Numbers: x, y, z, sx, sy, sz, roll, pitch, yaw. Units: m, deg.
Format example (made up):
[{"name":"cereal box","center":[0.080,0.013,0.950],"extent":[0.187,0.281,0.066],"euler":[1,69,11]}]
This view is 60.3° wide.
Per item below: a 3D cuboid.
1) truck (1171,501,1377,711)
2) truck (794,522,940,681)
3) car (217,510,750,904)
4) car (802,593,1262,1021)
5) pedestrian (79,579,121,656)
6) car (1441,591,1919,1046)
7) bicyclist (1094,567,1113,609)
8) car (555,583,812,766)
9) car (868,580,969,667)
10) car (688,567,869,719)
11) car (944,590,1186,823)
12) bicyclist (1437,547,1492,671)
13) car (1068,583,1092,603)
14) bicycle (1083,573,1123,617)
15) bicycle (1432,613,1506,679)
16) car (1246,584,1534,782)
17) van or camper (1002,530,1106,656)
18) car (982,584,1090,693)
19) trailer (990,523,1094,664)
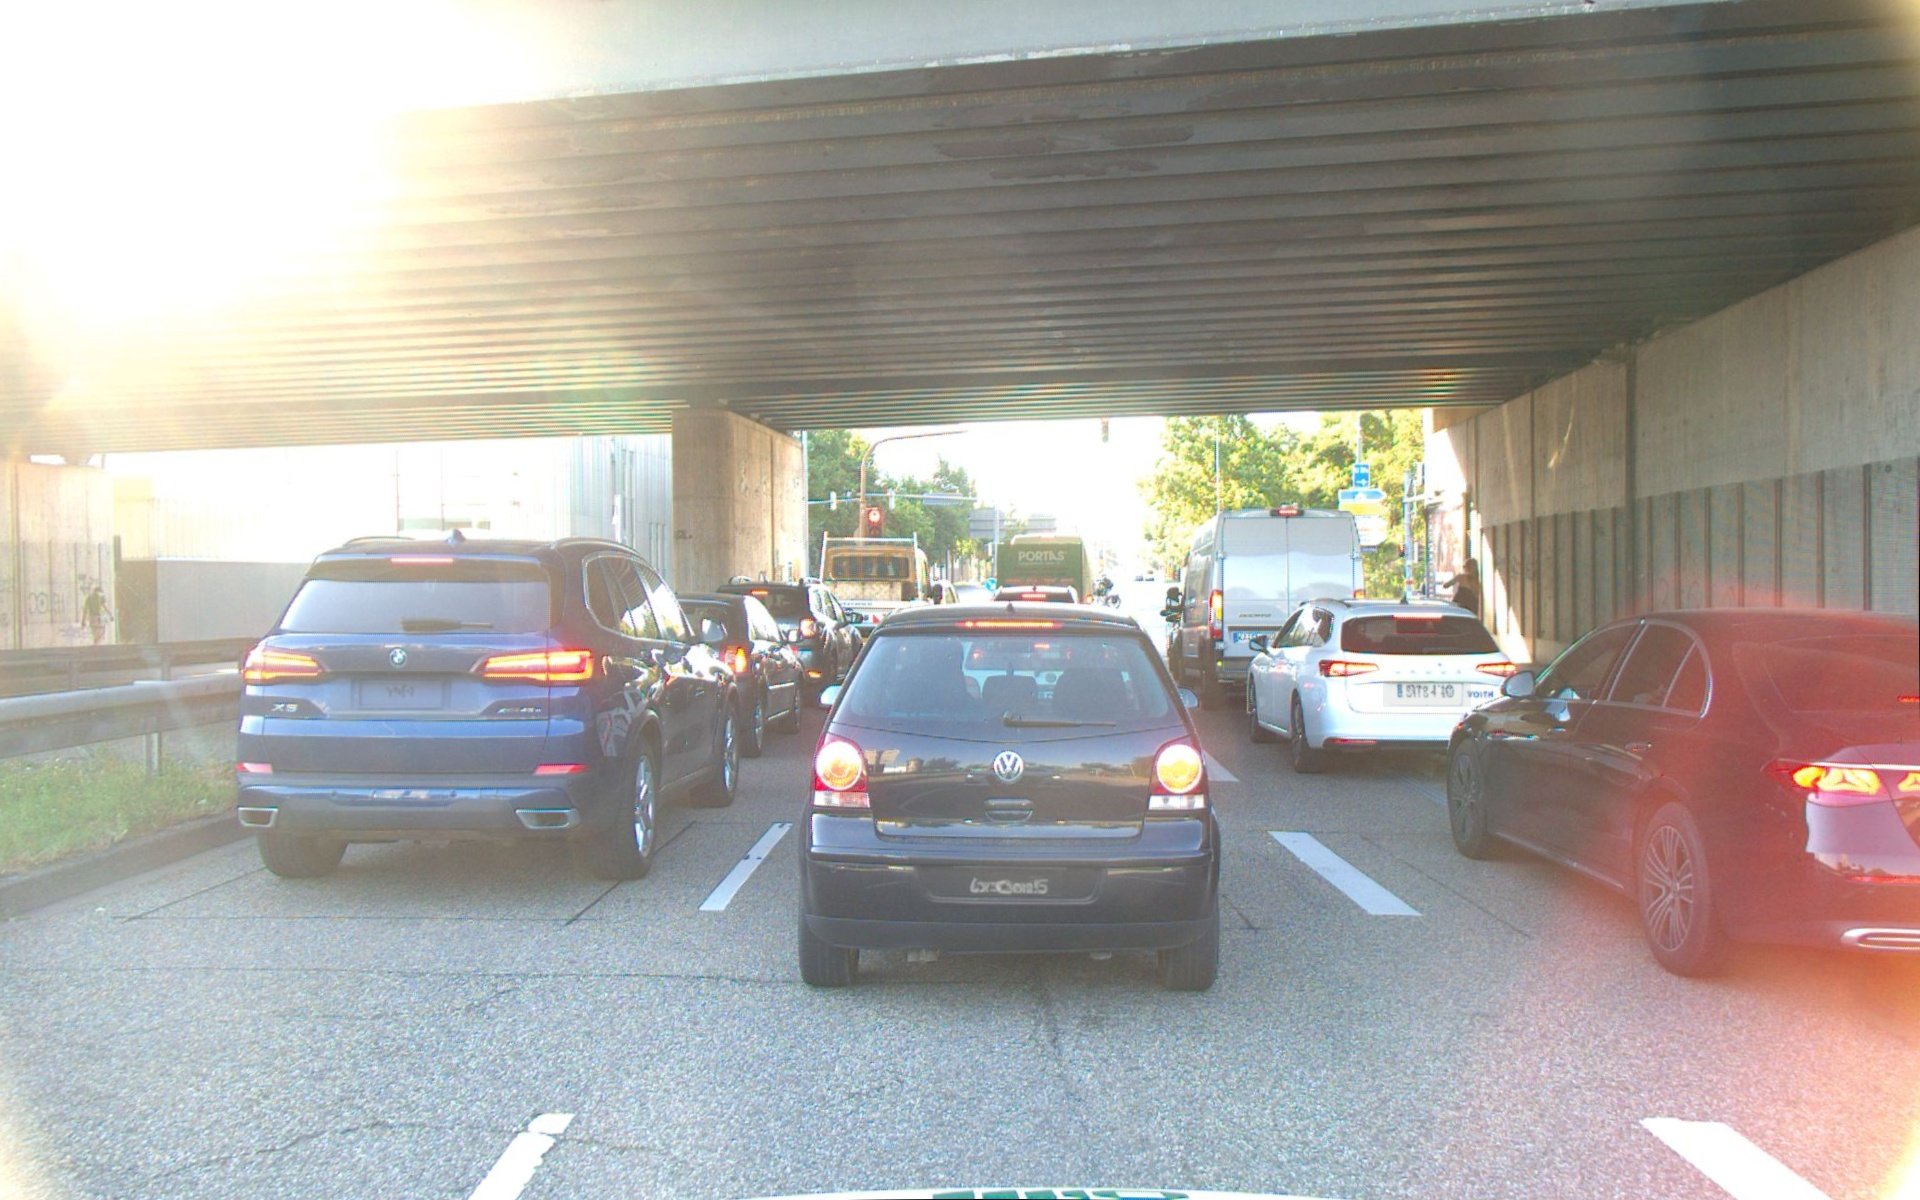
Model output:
[{"name":"truck","center":[4.219,0.091,22.938],"extent":[2.068,2.563,4.402],"euler":[-2,-1,2]},{"name":"truck","center":[-1.561,0.059,29.984],"extent":[1.985,2.601,5.539],"euler":[0,-1,4]},{"name":"car","center":[-2.446,0.508,9.732],"extent":[1.792,1.769,4.461],"euler":[-1,-1,1]},{"name":"car","center":[0.217,0.724,7.493],"extent":[1.549,1.433,3.831],"euler":[0,-1,-1]},{"name":"pedestrian","center":[-21.854,0.447,42.044],"extent":[0.679,1.937,0.665],"euler":[0,-1,5]},{"name":"car","center":[3.794,0.725,7.872],"extent":[1.705,1.480,4.606],"euler":[0,1,0]},{"name":"bicyclist","center":[7.111,-0.582,82.023],"extent":[0.810,2.048,0.683],"euler":[-3,-1,5]},{"name":"car","center":[-2.555,0.660,16.135],"extent":[1.804,1.465,3.675],"euler":[-4,-1,0]},{"name":"car","center":[-0.931,0.553,39.178],"extent":[1.951,1.934,4.002],"euler":[0,-1,5]},{"name":"car","center":[-2.341,0.543,22.299],"extent":[1.803,1.749,4.001],"euler":[-4,-1,1]},{"name":"car","center":[0.751,0.696,12.632],"extent":[1.515,1.448,3.418],"euler":[-3,0,2]},{"name":"bicyclist","center":[7.986,0.142,26.187],"extent":[0.667,1.940,0.834],"euler":[0,-1,5]},{"name":"car","center":[8.371,-0.483,115.572],"extent":[1.312,1.304,2.892],"euler":[-3,-1,-1]},{"name":"bicycle","center":[7.088,-0.264,82.050],"extent":[1.838,2.048,0.571],"euler":[-4,-1,6]},{"name":"bicycle","center":[7.967,0.701,25.985],"extent":[0.566,0.980,2.888],"euler":[-1,-1,6]},{"name":"car","center":[3.734,0.677,15.029],"extent":[1.735,1.521,3.833],"euler":[-2,-1,3]},{"name":"van or camper","center":[2.210,-0.120,37.423],"extent":[1.951,2.615,5.922],"euler":[0,-1,7]},{"name":"car","center":[1.192,0.576,25.611],"extent":[1.548,1.559,3.833],"euler":[0,-1,3]},{"name":"trailer","center":[1.639,-0.096,31.879],"extent":[1.825,2.508,3.834],"euler":[-2,-1,5]}]
